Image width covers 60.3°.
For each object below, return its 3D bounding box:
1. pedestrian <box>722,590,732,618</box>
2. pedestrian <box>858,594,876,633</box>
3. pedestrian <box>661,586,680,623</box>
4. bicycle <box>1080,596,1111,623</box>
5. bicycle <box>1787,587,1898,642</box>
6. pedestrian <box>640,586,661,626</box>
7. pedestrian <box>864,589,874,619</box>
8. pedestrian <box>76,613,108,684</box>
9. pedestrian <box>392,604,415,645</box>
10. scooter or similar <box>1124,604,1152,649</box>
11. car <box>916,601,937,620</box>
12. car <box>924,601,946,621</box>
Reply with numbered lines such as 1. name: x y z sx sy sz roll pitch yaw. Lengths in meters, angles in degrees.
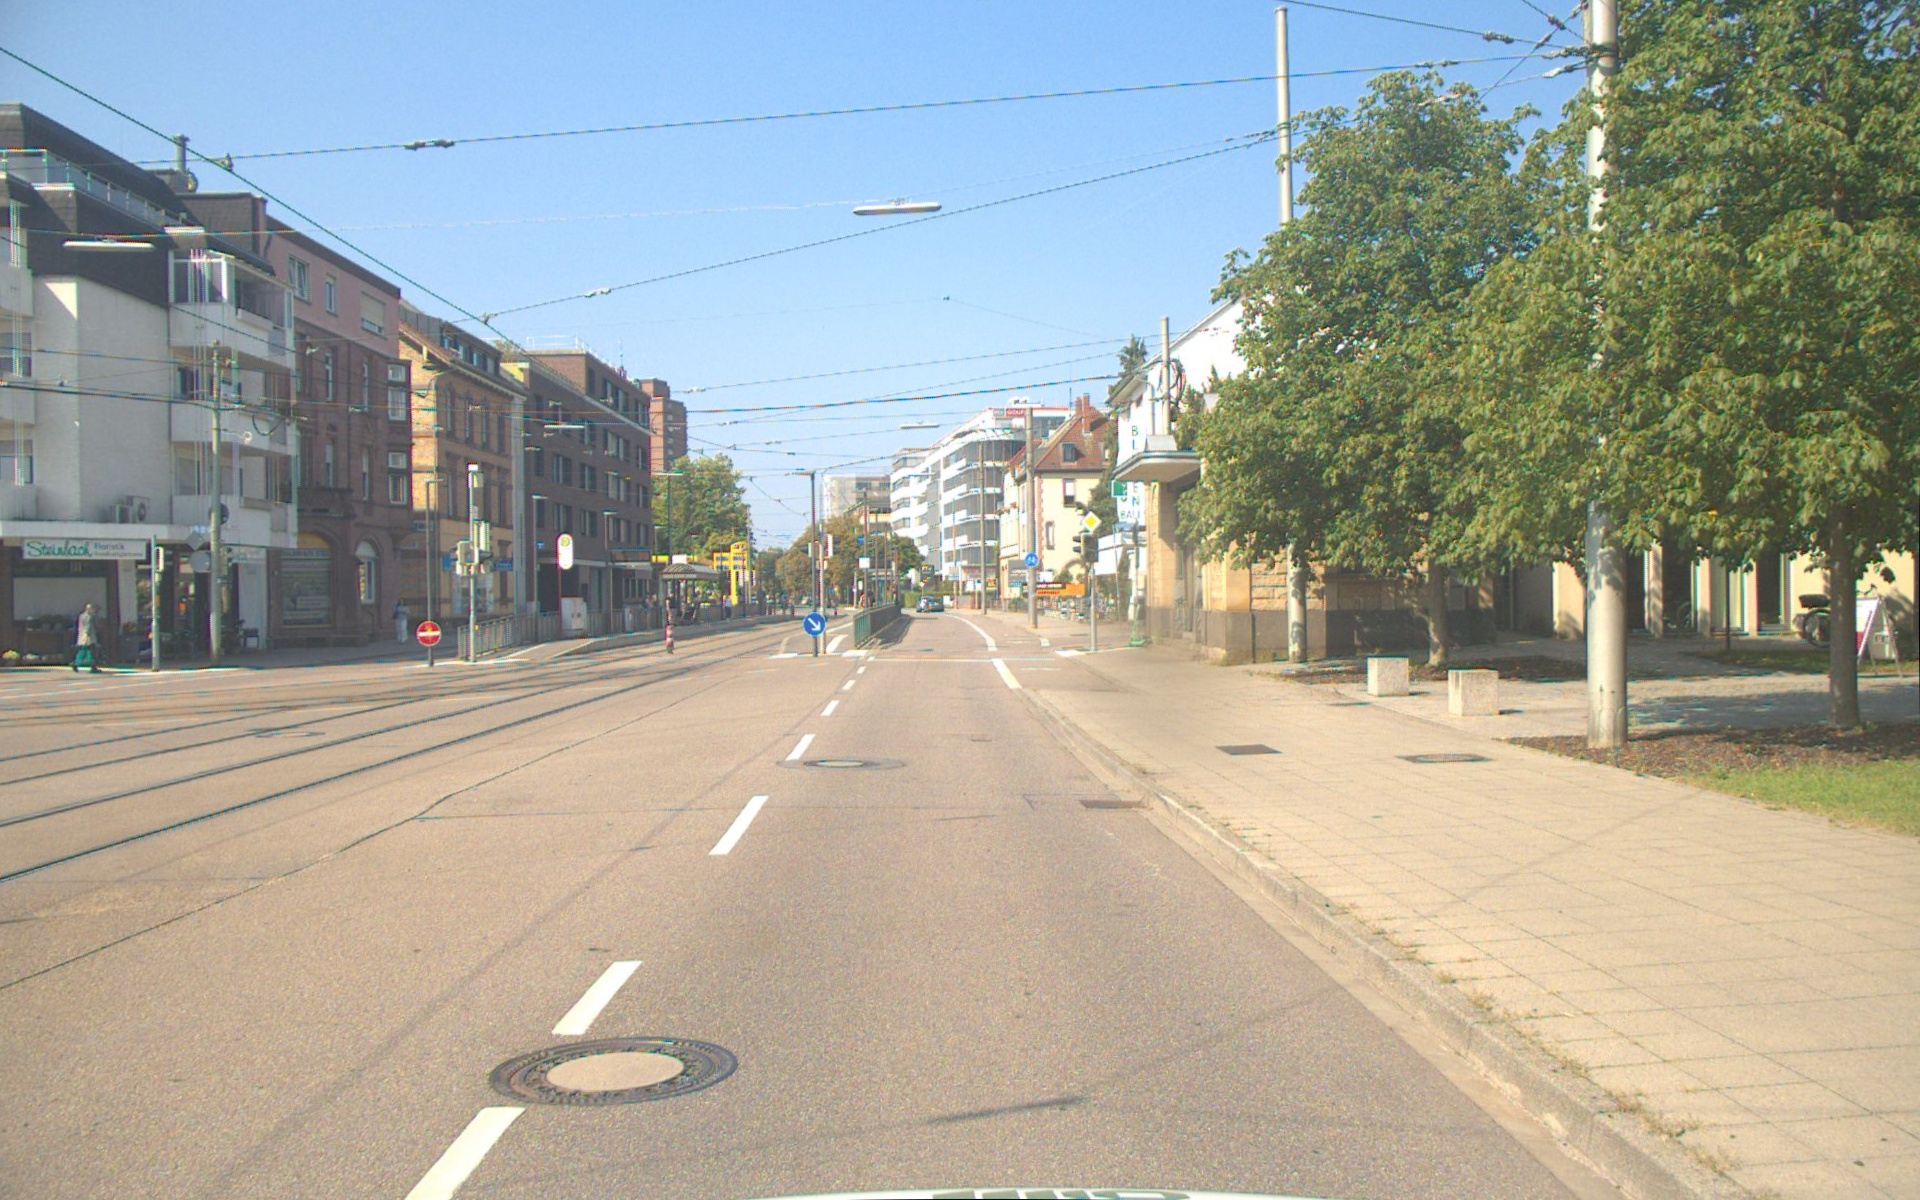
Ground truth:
1. pedestrian: -13.456 0.223 95.552 0.522 1.556 0.700 -3 0 -7
2. pedestrian: -4.342 0.624 76.847 0.705 1.733 0.884 -3 0 0
3. pedestrian: -14.103 0.215 80.533 0.693 1.777 0.799 -3 0 -1
4. bicycle: 6.151 0.440 75.378 0.717 1.152 2.834 -4 0 -8
5. bicycle: 16.463 0.267 30.873 1.865 0.997 0.427 -1 0 -2
6. pedestrian: -13.801 0.279 73.819 0.693 1.753 0.799 -3 0 -1
7. pedestrian: -5.397 0.235 98.309 0.526 1.733 0.581 -3 0 -4
8. pedestrian: -22.093 1.236 42.081 0.593 1.775 0.559 -3 0 -34
9. pedestrian: -21.296 0.939 63.276 0.472 1.587 0.888 0 -1 10
10. scooter or similar: 4.747 0.688 44.212 0.512 1.153 1.511 -3 0 0
11. car: -3.423 1.062 171.363 1.970 1.891 4.000 -3 0 0
12. car: -2.483 1.082 165.320 1.970 1.891 4.000 -3 0 0
